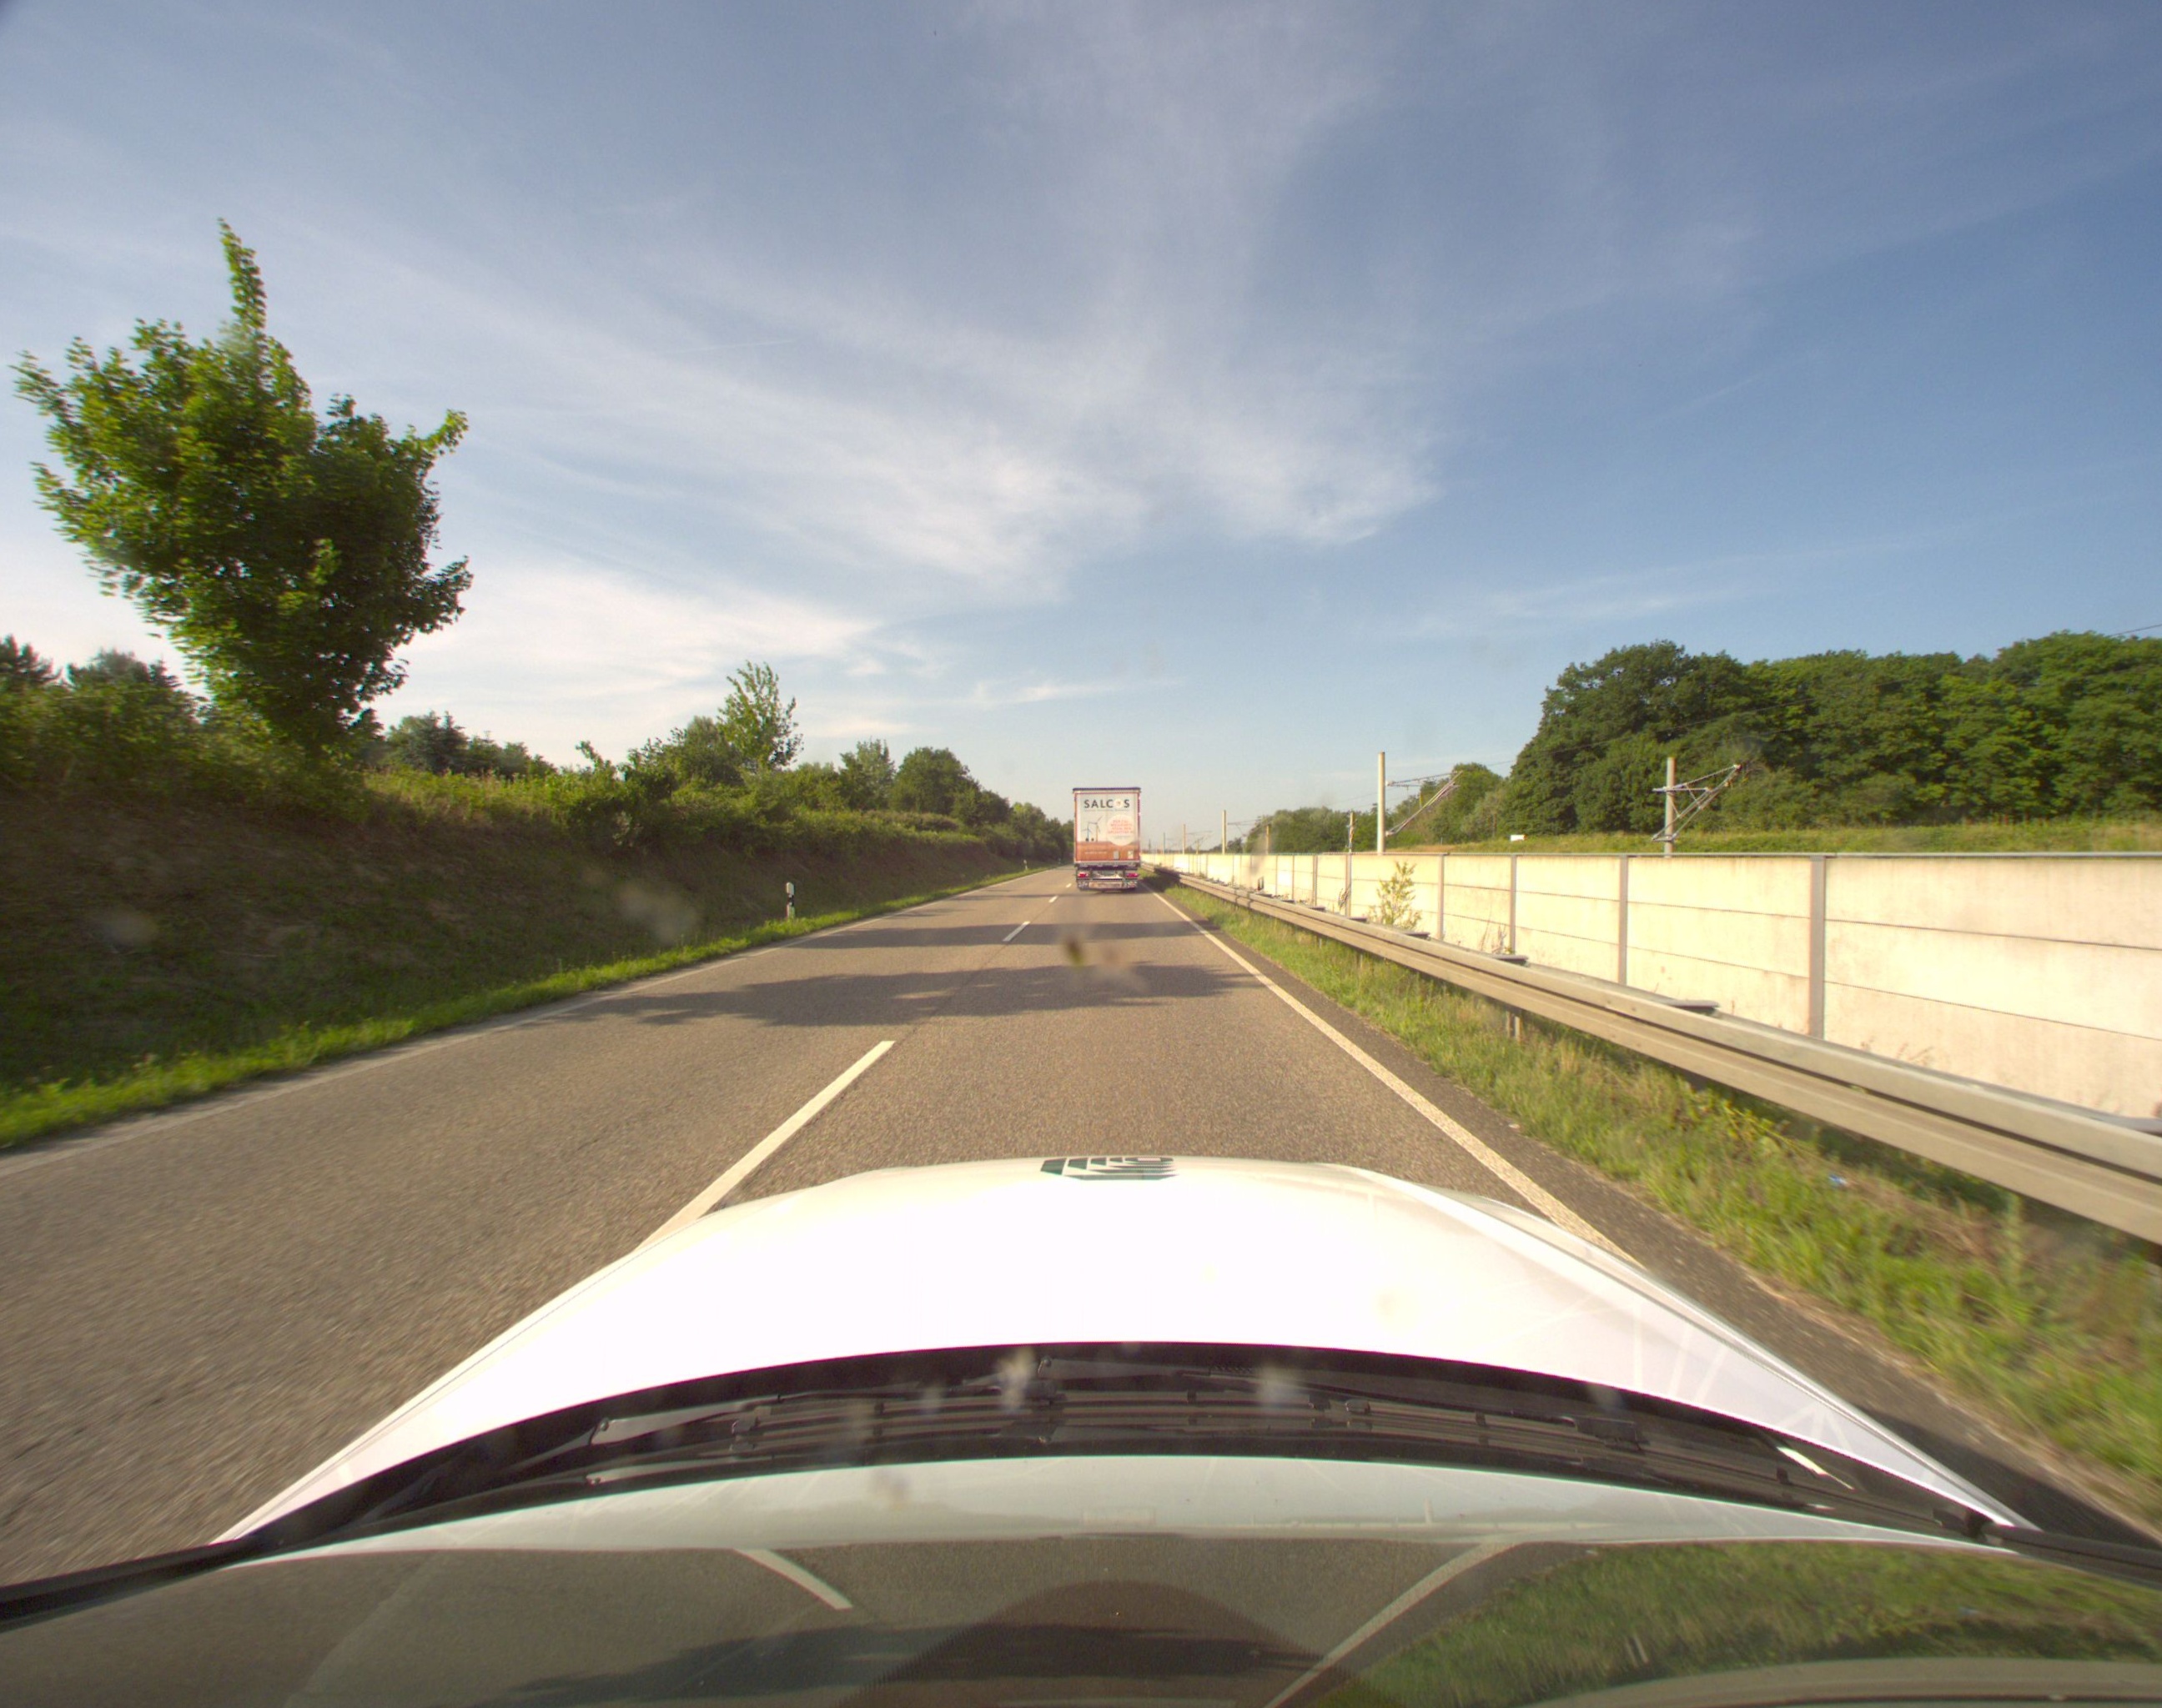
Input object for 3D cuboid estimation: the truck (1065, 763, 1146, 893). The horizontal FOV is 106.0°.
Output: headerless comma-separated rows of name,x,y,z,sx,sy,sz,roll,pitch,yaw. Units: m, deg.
truck,1.006,-0.998,36.969,3.023,4.920,11.684,-1,0,1
